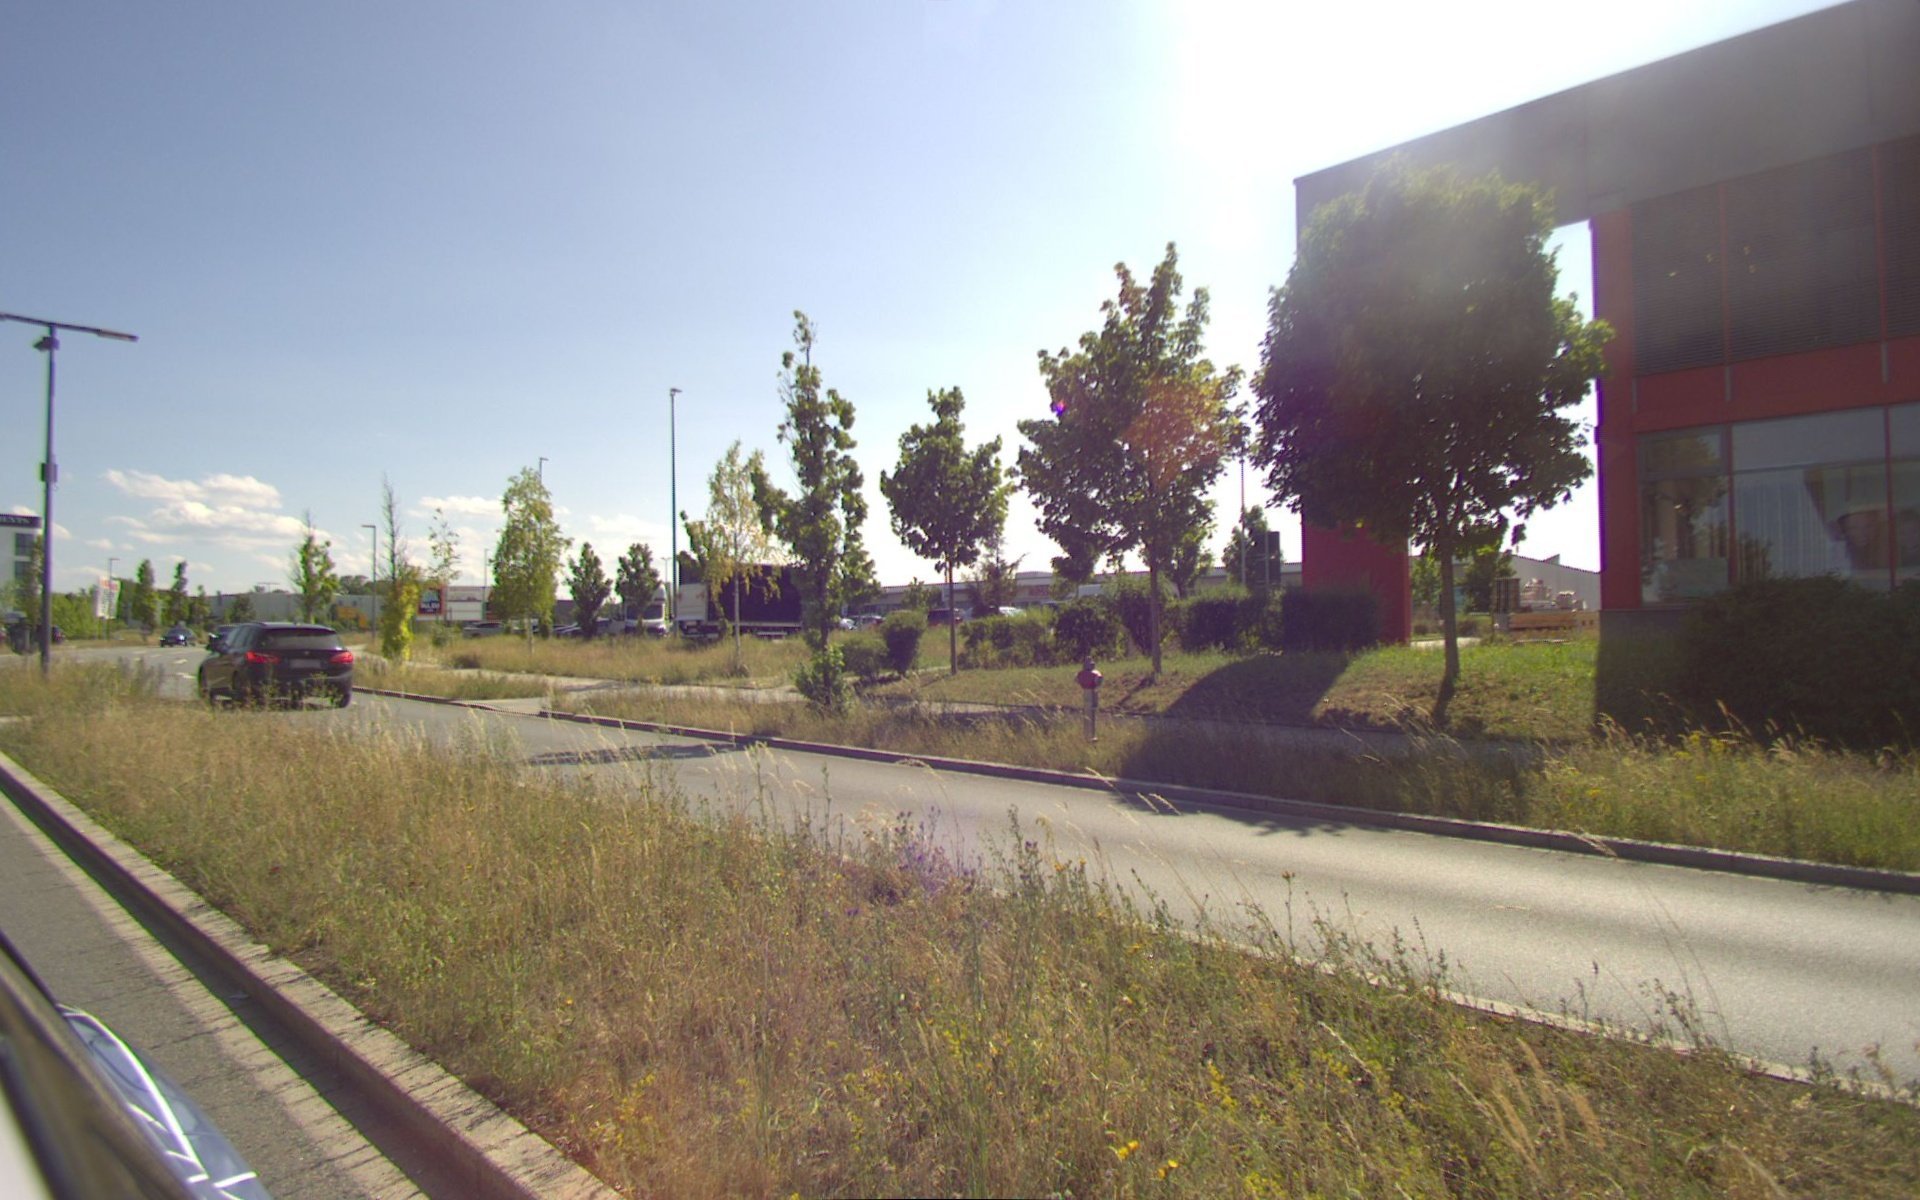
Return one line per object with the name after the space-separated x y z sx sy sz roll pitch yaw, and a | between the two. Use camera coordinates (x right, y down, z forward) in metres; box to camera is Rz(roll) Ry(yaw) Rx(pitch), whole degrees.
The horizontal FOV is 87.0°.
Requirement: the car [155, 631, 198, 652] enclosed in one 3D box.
-59.910 3.170 77.452 1.756 1.505 4.013 0 -2 -26 | car

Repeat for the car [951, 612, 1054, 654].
1.699 1.327 41.185 4.081 1.627 1.644 -2 -2 41 | car

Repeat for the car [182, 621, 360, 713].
-13.127 1.228 19.200 4.239 1.555 1.740 -2 -5 41 | car

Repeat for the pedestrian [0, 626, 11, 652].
-60.522 2.471 63.822 0.789 1.642 0.807 0 -2 -26 | pedestrian

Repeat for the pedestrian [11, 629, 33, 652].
-60.058 2.595 64.813 0.781 1.481 0.952 0 -2 -26 | pedestrian

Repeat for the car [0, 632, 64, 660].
-62.568 3.058 67.080 4.389 1.692 1.908 0 -3 -27 | car

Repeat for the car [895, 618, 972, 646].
-1.556 1.851 58.129 4.380 1.574 1.813 -2 -2 41 | car

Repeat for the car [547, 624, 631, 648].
-21.782 2.099 59.477 4.363 1.394 1.981 1 -2 -32 | car

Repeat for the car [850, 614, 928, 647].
-3.993 1.707 56.309 4.380 1.787 1.813 -2 -2 41 | car

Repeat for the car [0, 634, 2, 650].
-86.177 3.742 89.409 1.492 1.418 4.011 1 -3 -32 | car

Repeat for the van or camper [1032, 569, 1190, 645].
6.957 0.422 47.464 7.235 3.296 2.403 -2 -2 43 | van or camper

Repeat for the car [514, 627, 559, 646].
-44.101 3.795 105.347 4.086 1.875 1.938 1 -3 -29 | car

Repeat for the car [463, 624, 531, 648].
-35.569 2.766 77.801 4.694 1.656 2.122 -1 -3 -24 | car

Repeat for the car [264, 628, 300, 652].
-53.623 3.164 80.094 1.924 1.808 4.440 2 -3 -29 | car

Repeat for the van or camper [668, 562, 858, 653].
-8.113 0.374 42.419 7.599 3.495 2.559 1 -2 -42 | van or camper

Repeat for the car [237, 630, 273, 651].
-61.459 3.553 88.274 1.923 1.740 4.440 2 -3 -27 | car

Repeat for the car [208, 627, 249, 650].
-54.365 2.855 75.253 1.727 1.700 4.395 1 -2 -27 | car

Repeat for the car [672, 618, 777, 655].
-10.593 1.633 45.744 4.315 1.564 1.840 1 -2 -43 | car

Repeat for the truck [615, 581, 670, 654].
-16.296 0.961 52.296 2.285 3.491 7.514 0 -2 -14 | truck
